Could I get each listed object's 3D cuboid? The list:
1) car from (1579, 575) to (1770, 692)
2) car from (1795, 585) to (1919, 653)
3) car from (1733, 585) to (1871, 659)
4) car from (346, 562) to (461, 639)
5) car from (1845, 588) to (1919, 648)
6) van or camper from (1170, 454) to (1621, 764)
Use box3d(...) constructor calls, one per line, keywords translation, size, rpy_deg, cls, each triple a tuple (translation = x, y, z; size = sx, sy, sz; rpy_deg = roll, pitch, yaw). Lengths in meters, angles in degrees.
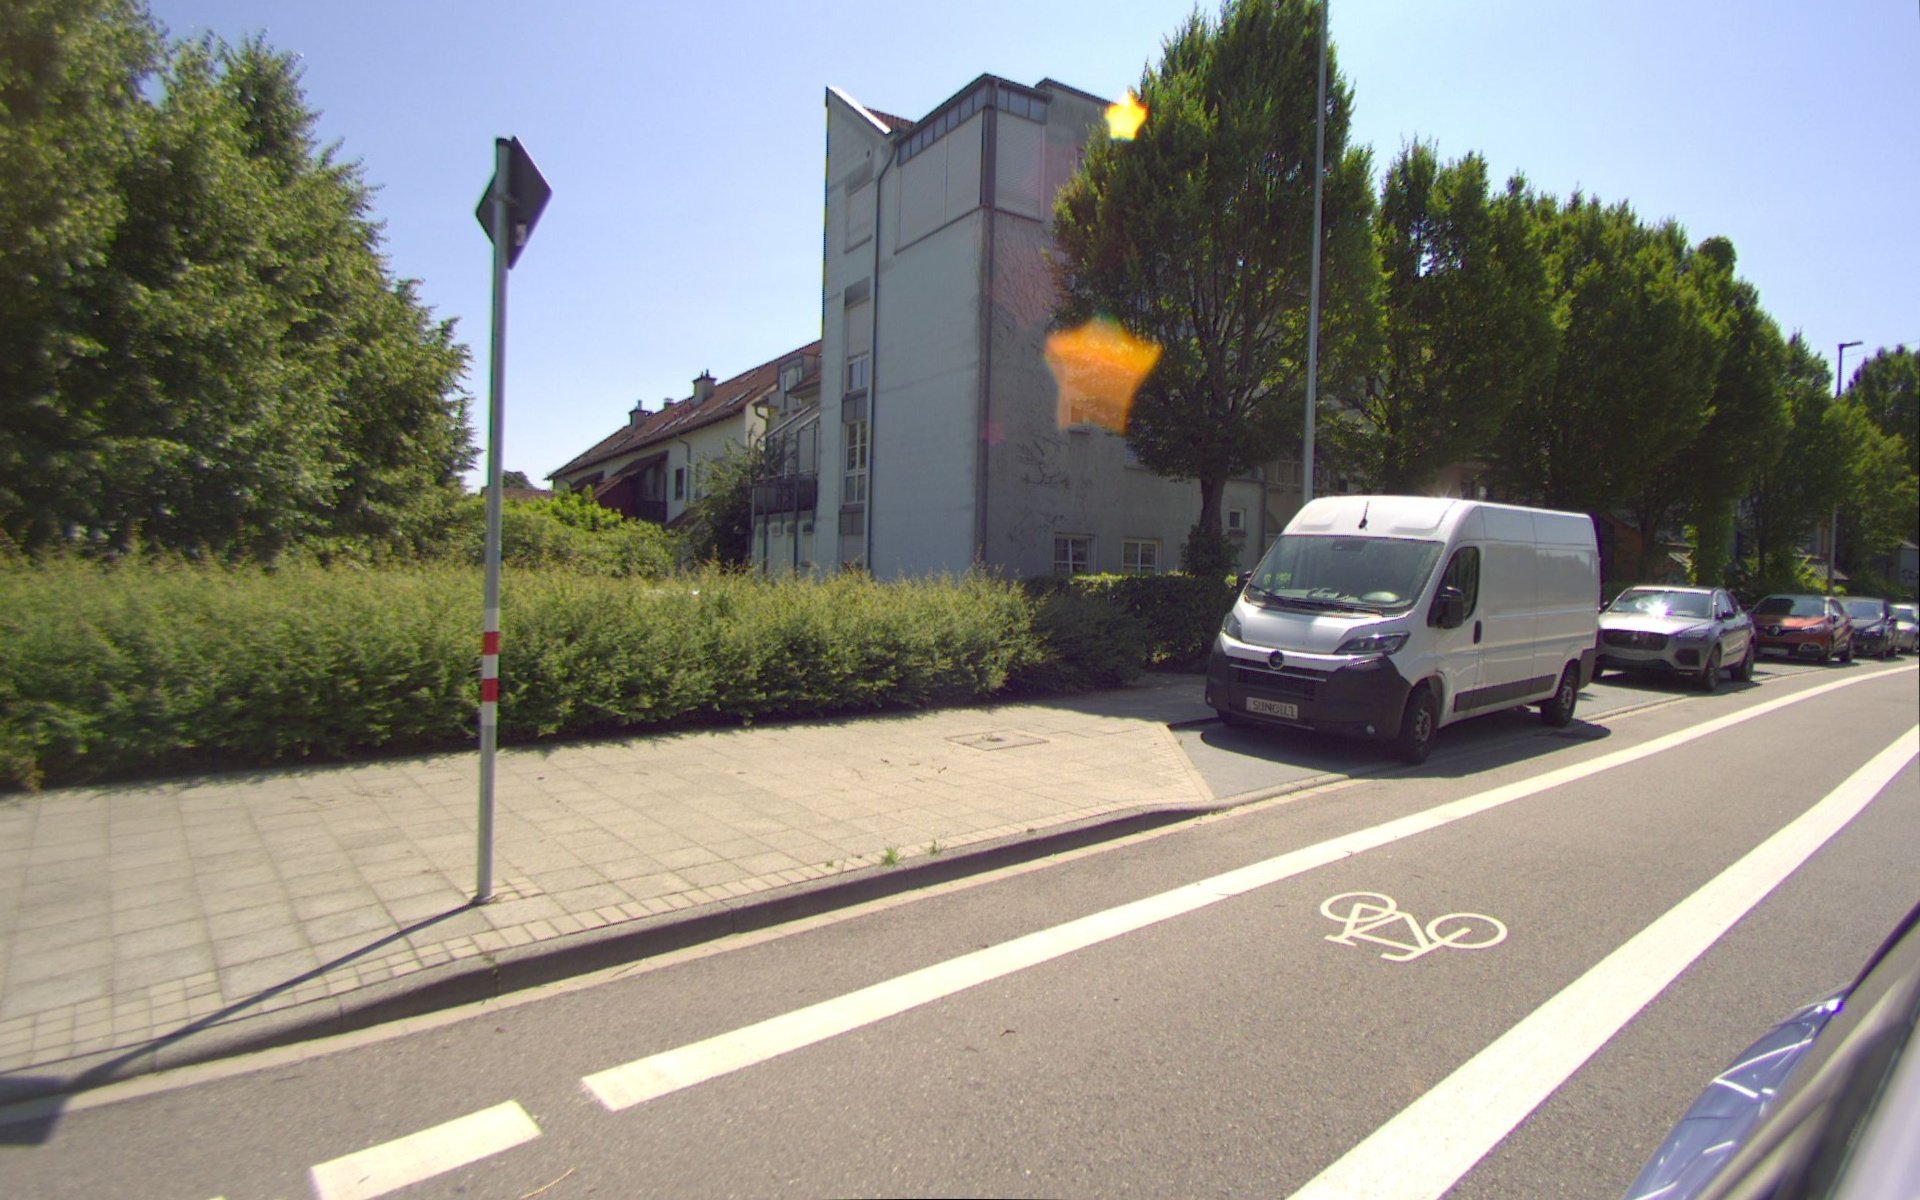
box3d(translation=(12.303, 0.487, 17.344), size=(3.933, 1.653, 1.826), rpy_deg=(0, 5, -43), cls="car")
box3d(translation=(24.550, 0.468, 27.654), size=(3.930, 1.682, 1.997), rpy_deg=(0, 2, -41), cls="car")
box3d(translation=(19.963, 0.472, 23.954), size=(3.929, 1.571, 1.813), rpy_deg=(0, 2, -40), cls="car")
box3d(translation=(-12.485, -0.061, 22.562), size=(1.961, 1.540, 4.230), rpy_deg=(0, 2, -33), cls="car")
box3d(translation=(28.515, 0.504, 30.729), size=(3.930, 1.682, 1.905), rpy_deg=(0, 2, -41), cls="car")
box3d(translation=(4.977, -0.013, 10.976), size=(5.891, 2.513, 2.124), rpy_deg=(0, 4, -42), cls="van or camper")
